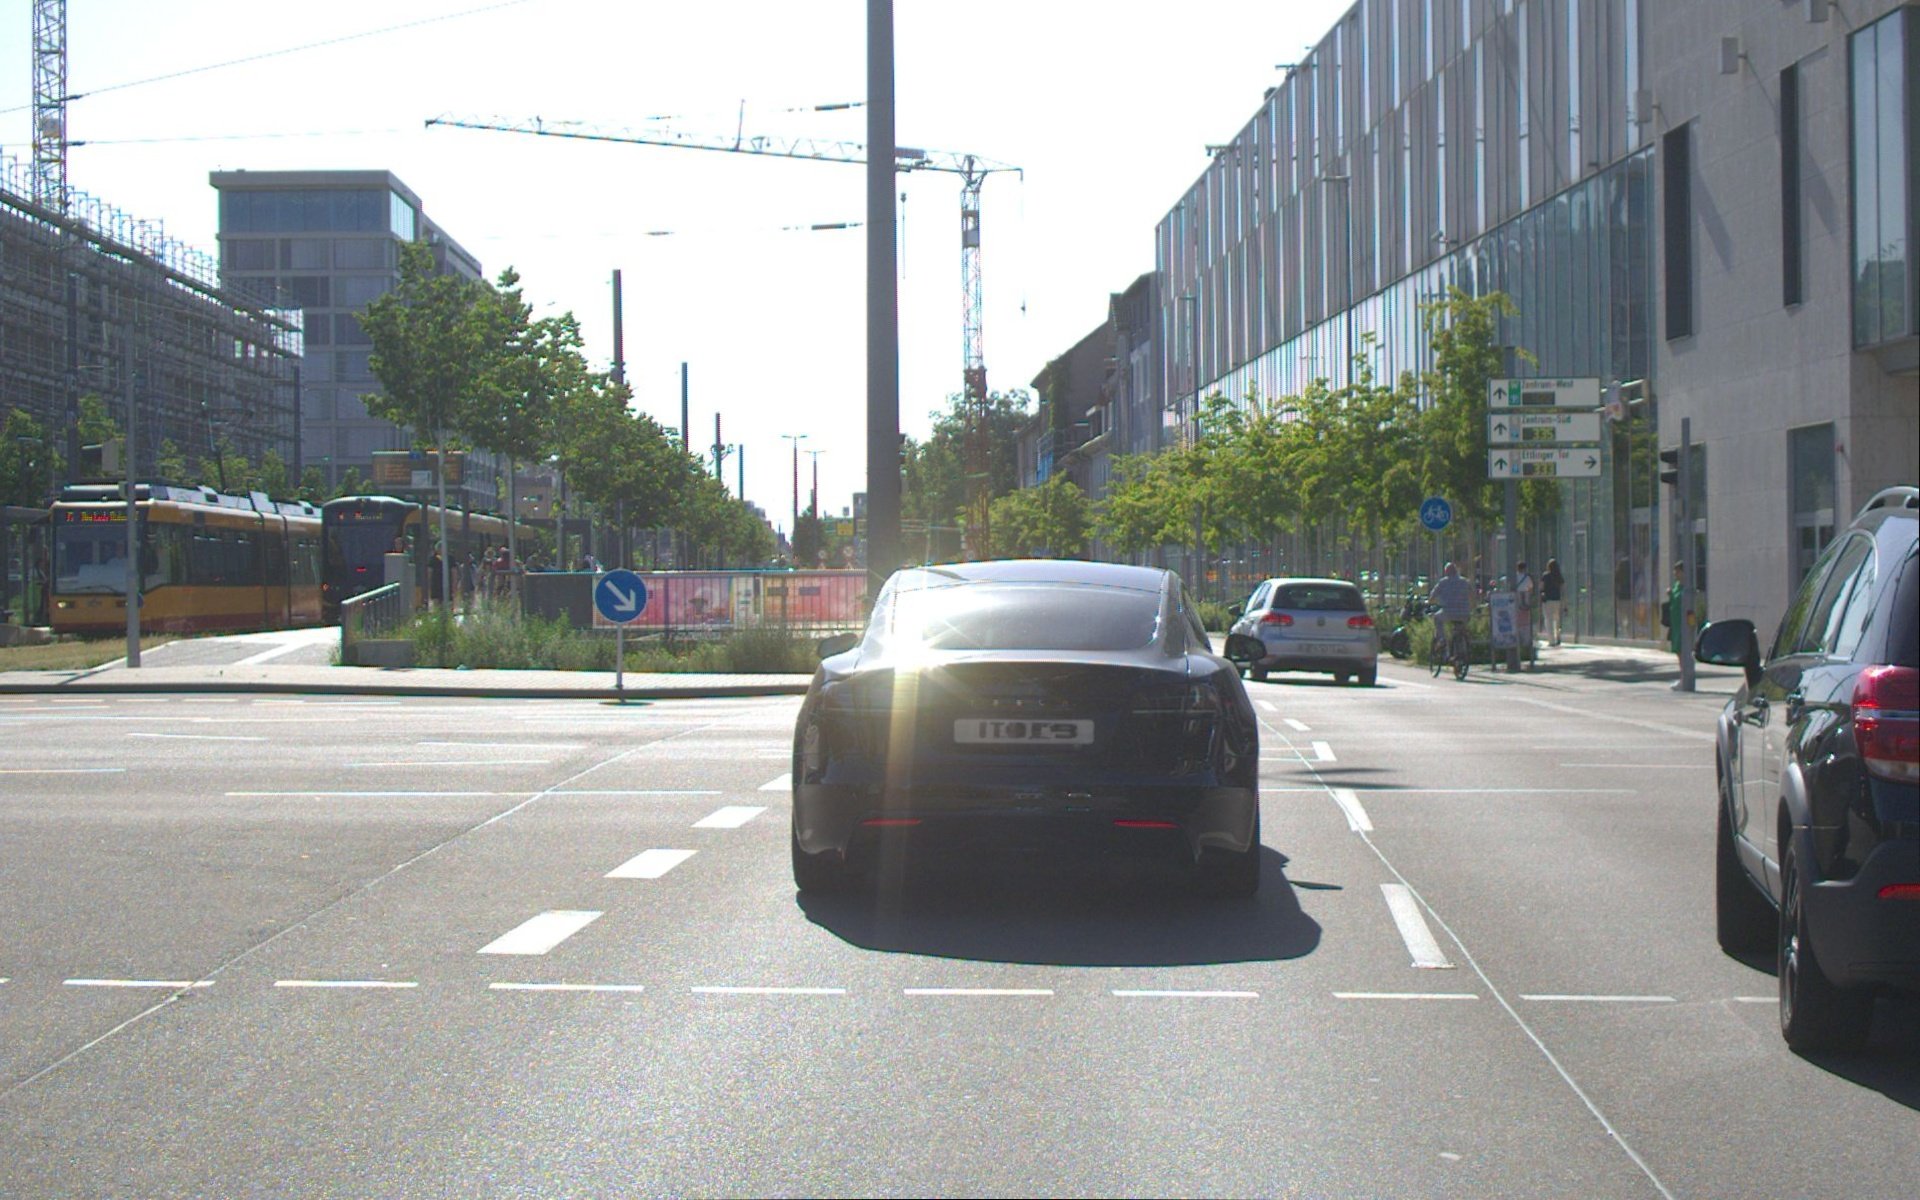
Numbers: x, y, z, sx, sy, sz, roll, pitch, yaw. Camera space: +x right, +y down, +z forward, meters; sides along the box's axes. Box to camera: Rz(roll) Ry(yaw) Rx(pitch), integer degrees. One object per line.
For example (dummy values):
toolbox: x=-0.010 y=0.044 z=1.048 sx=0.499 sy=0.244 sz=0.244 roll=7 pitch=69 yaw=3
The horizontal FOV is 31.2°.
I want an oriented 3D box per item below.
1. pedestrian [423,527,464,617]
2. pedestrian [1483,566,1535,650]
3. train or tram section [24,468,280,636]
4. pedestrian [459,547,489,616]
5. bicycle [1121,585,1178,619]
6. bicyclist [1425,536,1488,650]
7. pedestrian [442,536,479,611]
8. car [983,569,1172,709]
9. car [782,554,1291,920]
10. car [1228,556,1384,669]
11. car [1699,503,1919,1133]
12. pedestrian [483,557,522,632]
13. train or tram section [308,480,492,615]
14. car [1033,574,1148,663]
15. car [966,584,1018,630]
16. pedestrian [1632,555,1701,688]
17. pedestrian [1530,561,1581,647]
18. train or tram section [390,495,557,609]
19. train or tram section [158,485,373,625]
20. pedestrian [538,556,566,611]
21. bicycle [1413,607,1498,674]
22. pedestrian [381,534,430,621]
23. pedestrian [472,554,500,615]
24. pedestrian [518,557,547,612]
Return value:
pedestrian: x=-10.299 y=-0.568 z=68.596 sx=0.703 sy=1.769 sz=0.959 roll=1 pitch=1 yaw=-4
pedestrian: x=10.841 y=0.152 z=67.922 sx=0.821 sy=1.652 sz=0.900 roll=0 pitch=0 yaw=-6
train or tram section: x=-17.558 y=-1.017 z=75.744 sx=2.870 sy=3.298 sz=13.074 roll=1 pitch=0 yaw=-2
pedestrian: x=-12.890 y=-0.499 z=91.143 sx=0.671 sy=1.804 sz=1.075 roll=-1 pitch=0 yaw=-2
bicycle: x=6.781 y=0.066 z=123.214 sx=1.881 sy=1.147 sz=0.672 roll=-2 pitch=0 yaw=-12
bicyclist: x=7.643 y=-0.106 z=52.959 sx=0.724 sy=1.731 sz=0.998 roll=-1 pitch=0 yaw=-5
pedestrian: x=-11.899 y=-0.636 z=81.905 sx=0.791 sy=1.769 sz=0.979 roll=1 pitch=1 yaw=-4
car: x=1.141 y=0.356 z=34.886 sx=1.716 sy=1.315 sz=4.000 roll=0 pitch=1 yaw=-1
car: x=0.289 y=0.523 z=15.792 sx=1.999 sy=1.429 sz=4.412 roll=0 pitch=0 yaw=0
car: x=4.887 y=0.146 z=48.969 sx=1.784 sy=1.541 sz=4.039 roll=0 pitch=1 yaw=0
car: x=3.517 y=0.559 z=11.335 sx=1.785 sy=1.693 sz=4.411 roll=0 pitch=1 yaw=8
pedestrian: x=-9.985 y=-0.126 z=75.014 sx=0.741 sy=1.623 sz=0.861 roll=0 pitch=0 yaw=-1
train or tram section: x=-14.939 y=-1.370 z=92.949 sx=2.870 sy=3.268 sz=15.186 roll=1 pitch=0 yaw=-2
car: x=2.171 y=0.290 z=57.934 sx=1.716 sy=1.427 sz=4.000 roll=0 pitch=1 yaw=-1
car: x=1.189 y=0.246 z=127.067 sx=1.888 sy=1.590 sz=4.000 roll=0 pitch=1 yaw=1
pedestrian: x=9.246 y=0.279 z=45.012 sx=0.657 sy=1.696 sz=0.698 roll=-3 pitch=1 yaw=-3
pedestrian: x=11.706 y=0.074 z=67.623 sx=0.706 sy=1.652 sz=0.900 roll=-2 pitch=0 yaw=-6
train or tram section: x=-15.519 y=-1.501 z=111.599 sx=2.870 sy=3.268 sz=22.145 roll=1 pitch=0 yaw=-2
train or tram section: x=-17.994 y=-1.105 z=90.291 sx=2.847 sy=3.310 sz=15.967 roll=1 pitch=0 yaw=-2
pedestrian: x=-12.182 y=-0.486 z=102.693 sx=0.741 sy=1.623 sz=0.861 roll=0 pitch=0 yaw=-1
bicycle: x=7.627 y=0.614 z=53.039 sx=0.728 sy=0.980 sz=2.333 roll=3 pitch=0 yaw=-5
pedestrian: x=-11.550 y=-0.472 z=71.589 sx=0.874 sy=1.769 sz=1.189 roll=1 pitch=1 yaw=-4
pedestrian: x=-11.943 y=-0.385 z=86.591 sx=0.647 sy=1.507 sz=0.588 roll=1 pitch=1 yaw=-4
pedestrian: x=-12.588 y=-0.458 z=101.199 sx=0.741 sy=1.623 sz=0.861 roll=0 pitch=0 yaw=-1
